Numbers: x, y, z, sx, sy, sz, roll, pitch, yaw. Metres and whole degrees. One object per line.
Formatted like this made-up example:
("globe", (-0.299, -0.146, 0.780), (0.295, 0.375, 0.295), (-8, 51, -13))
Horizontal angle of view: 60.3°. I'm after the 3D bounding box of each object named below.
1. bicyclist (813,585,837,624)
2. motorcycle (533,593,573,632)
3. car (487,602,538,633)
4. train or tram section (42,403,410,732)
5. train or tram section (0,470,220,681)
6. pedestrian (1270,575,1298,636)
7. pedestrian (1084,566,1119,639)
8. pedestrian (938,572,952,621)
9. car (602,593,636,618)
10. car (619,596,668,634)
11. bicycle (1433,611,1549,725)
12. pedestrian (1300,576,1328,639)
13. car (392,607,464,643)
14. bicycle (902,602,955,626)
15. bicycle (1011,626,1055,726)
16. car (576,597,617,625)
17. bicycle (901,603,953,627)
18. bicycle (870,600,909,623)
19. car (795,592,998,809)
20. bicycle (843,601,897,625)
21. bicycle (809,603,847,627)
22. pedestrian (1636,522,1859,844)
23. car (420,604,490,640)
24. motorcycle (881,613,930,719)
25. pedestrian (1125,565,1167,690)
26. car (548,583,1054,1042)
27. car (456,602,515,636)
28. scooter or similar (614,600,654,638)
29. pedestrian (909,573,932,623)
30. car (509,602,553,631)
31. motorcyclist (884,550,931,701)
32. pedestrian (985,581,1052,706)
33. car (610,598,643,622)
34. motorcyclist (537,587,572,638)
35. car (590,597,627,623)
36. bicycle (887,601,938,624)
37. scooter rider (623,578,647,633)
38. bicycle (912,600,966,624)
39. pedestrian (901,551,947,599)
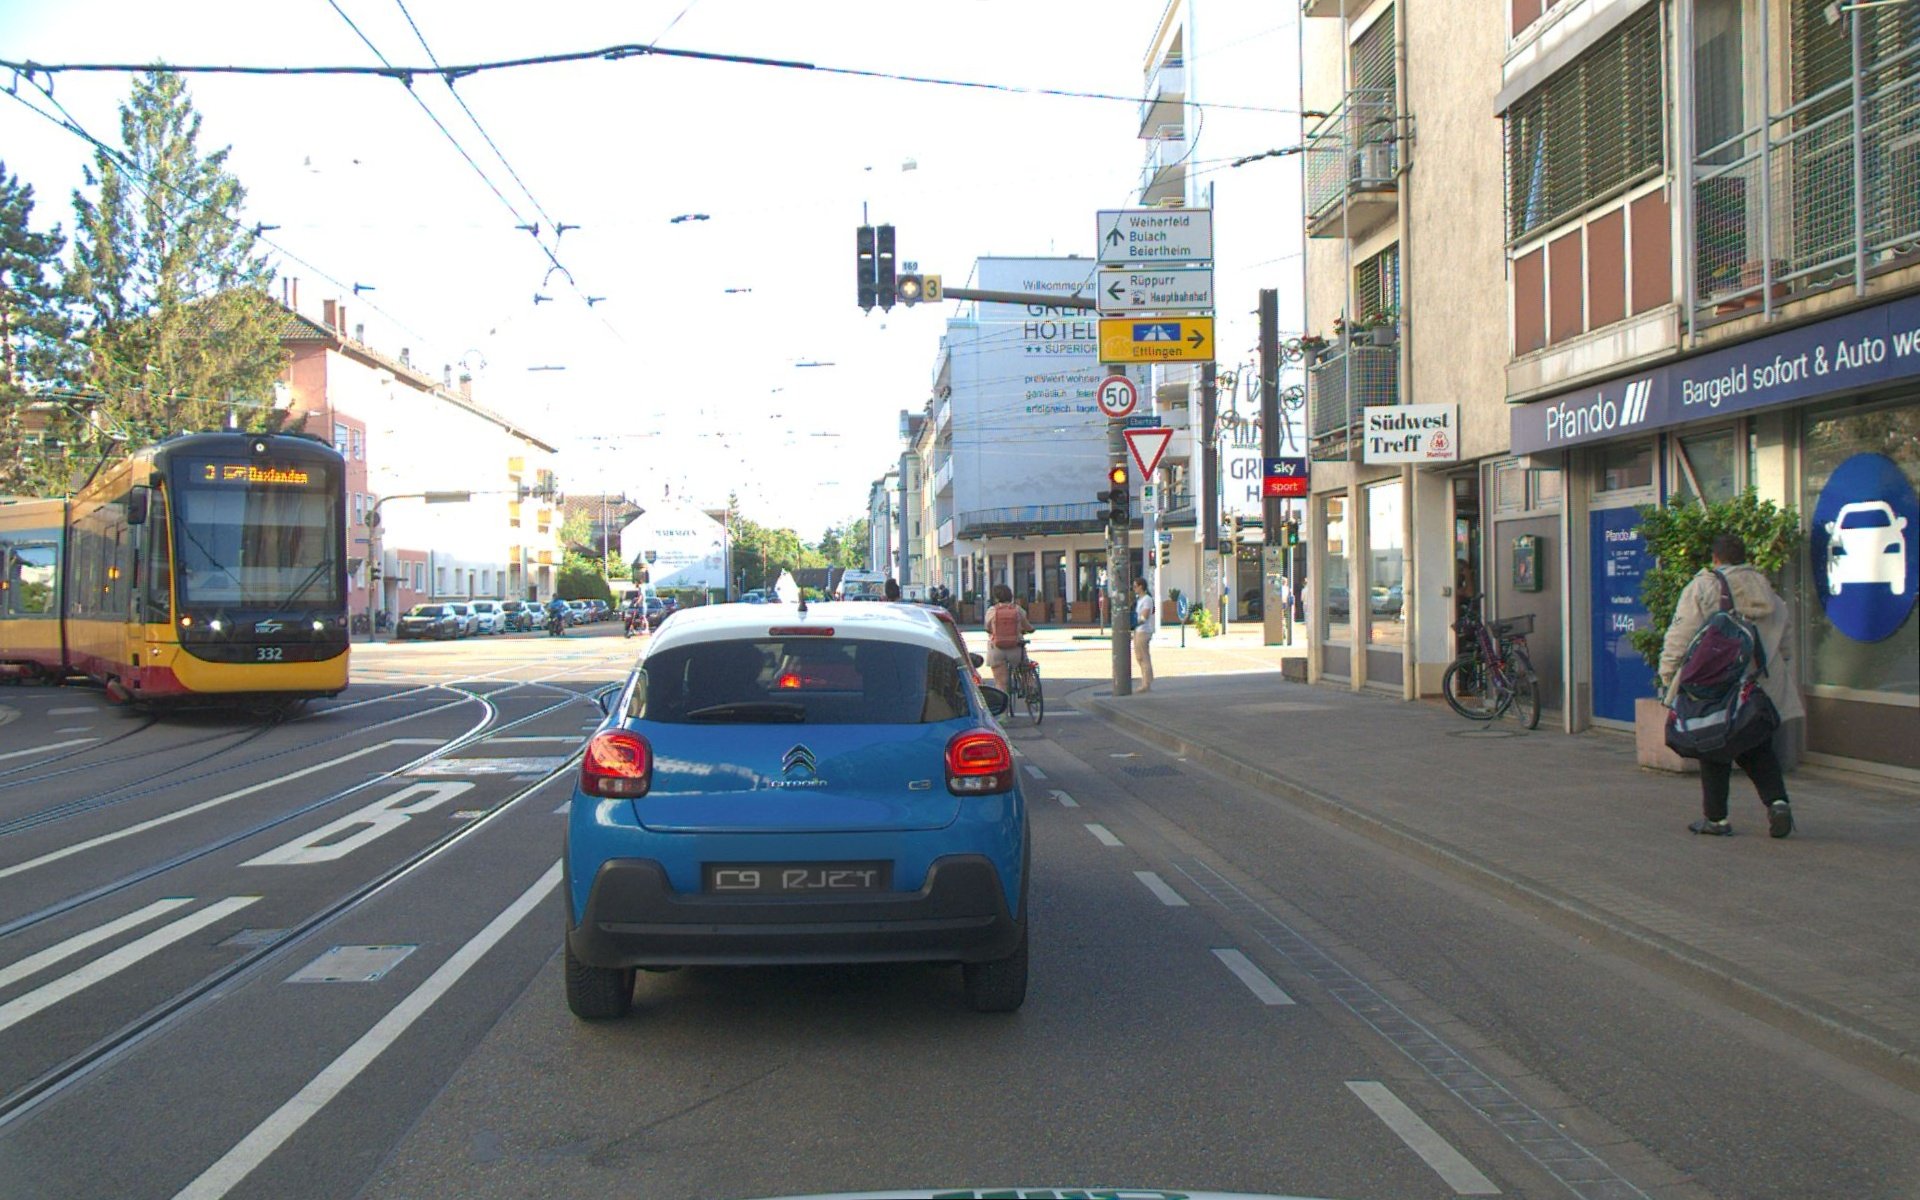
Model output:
("bicyclist", (-5.369, 0.179, 65.802), (0.734, 1.503, 0.559), (0, -1, 42))
("motorcycle", (-16.390, 0.487, 66.725), (0.905, 1.512, 3.723), (1, 0, -4))
("car", (-23.150, 0.888, 85.699), (1.750, 1.524, 3.997), (1, 0, -4))
("train or tram section", (-11.331, -0.324, 24.429), (3.034, 3.656, 12.485), (-1, 0, -33))
("train or tram section", (-18.433, -0.472, 32.772), (8.903, 3.694, 2.823), (1, 0, 36))
("pedestrian", (8.831, 0.158, 45.125), (0.720, 1.629, 0.749), (1, -1, 12))
("pedestrian", (4.012, 0.074, 46.900), (0.907, 2.049, 0.759), (1, -1, -1))
("pedestrian", (-0.641, -0.158, 70.156), (0.565, 2.049, 0.625), (1, -1, -3))
("car", (-23.974, 0.404, 116.422), (1.797, 1.716, 3.997), (1, 0, -4))
("car", (-14.557, 0.689, 76.166), (1.740, 1.695, 3.853), (1, 0, -4))
("bicycle", (5.045, 0.618, 15.806), (0.531, 1.016, 1.705), (1, 0, -1))
("pedestrian", (9.639, 0.195, 45.020), (0.736, 1.686, 0.884), (1, -1, 13))
("car", (-21.956, 1.011, 68.443), (1.757, 1.446, 3.994), (1, 0, -2))
("bicycle", (-1.268, 0.573, 67.071), (2.093, 0.917, 0.366), (1, -1, -10))
("bicycle", (0.892, 0.911, 20.497), (0.419, 1.142, 1.998), (1, 0, -1))
("car", (-23.098, 0.699, 105.295), (1.944, 1.716, 3.997), (1, 0, -4))
("bicycle", (-1.334, 0.606, 67.491), (2.093, 0.917, 0.366), (1, -1, -10))
("bicycle", (-2.966, 0.479, 69.364), (1.751, 0.917, 0.365), (1, -1, 34))
("car", (-0.466, 0.715, 13.091), (1.395, 1.493, 2.923), (-1, 0, -1))
("bicycle", (-3.593, 0.529, 66.095), (2.093, 0.917, 0.366), (1, -1, -10))
("bicycle", (-5.258, 0.601, 65.678), (1.826, 0.919, 0.348), (1, -1, 43))
("pedestrian", (4.157, 0.422, 8.778), (0.808, 1.620, 0.751), (1, -1, -1))
("car", (-22.218, 0.954, 72.910), (1.778, 1.524, 4.299), (1, 0, -1))
("motorcycle", (-0.619, 0.735, 19.386), (0.515, 1.159, 2.289), (1, 0, -1))
("pedestrian", (2.745, 0.399, 24.411), (0.507, 1.814, 0.595), (1, -1, -3))
("car", (-0.540, 0.702, 7.147), (1.620, 1.469, 3.522), (1, 0, -1))
("car", (-22.617, 0.884, 78.969), (1.751, 1.537, 4.148), (1, 0, -2))
("scooter or similar", (-11.383, 0.649, 57.768), (1.328, 1.291, 0.442), (-1, -1, -16))
("pedestrian", (-1.647, -0.077, 69.121), (0.625, 2.049, 0.715), (1, -1, -36))
("car", (-23.749, 0.916, 91.638), (1.699, 1.524, 3.996), (1, 0, -5))
("motorcyclist", (-0.611, 0.294, 19.576), (0.516, 1.746, 0.717), (1, -1, -1))
("pedestrian", (0.703, 0.521, 20.210), (0.761, 1.486, 0.681), (1, -1, -1))
("car", (-24.338, 0.707, 120.898), (1.809, 1.716, 3.871), (1, 0, -4))
("motorcyclist", (-16.450, 0.490, 67.125), (1.162, 2.049, 1.274), (-1, 0, -4))
("car", (-23.539, 0.679, 110.924), (1.845, 1.716, 3.997), (1, 0, -4))
("bicycle", (-1.962, 0.504, 68.267), (2.093, 0.917, 0.366), (1, -1, -10))
("scooter rider", (-11.356, 0.193, 57.764), (0.710, 1.864, 0.714), (-1, 0, -17))
("bicycle", (-0.841, 0.489, 65.921), (2.093, 0.917, 0.366), (1, -1, -10))
("pedestrian", (-1.599, -1.081, 73.494), (1.953, 2.049, 3.999), (1, 0, -1))
